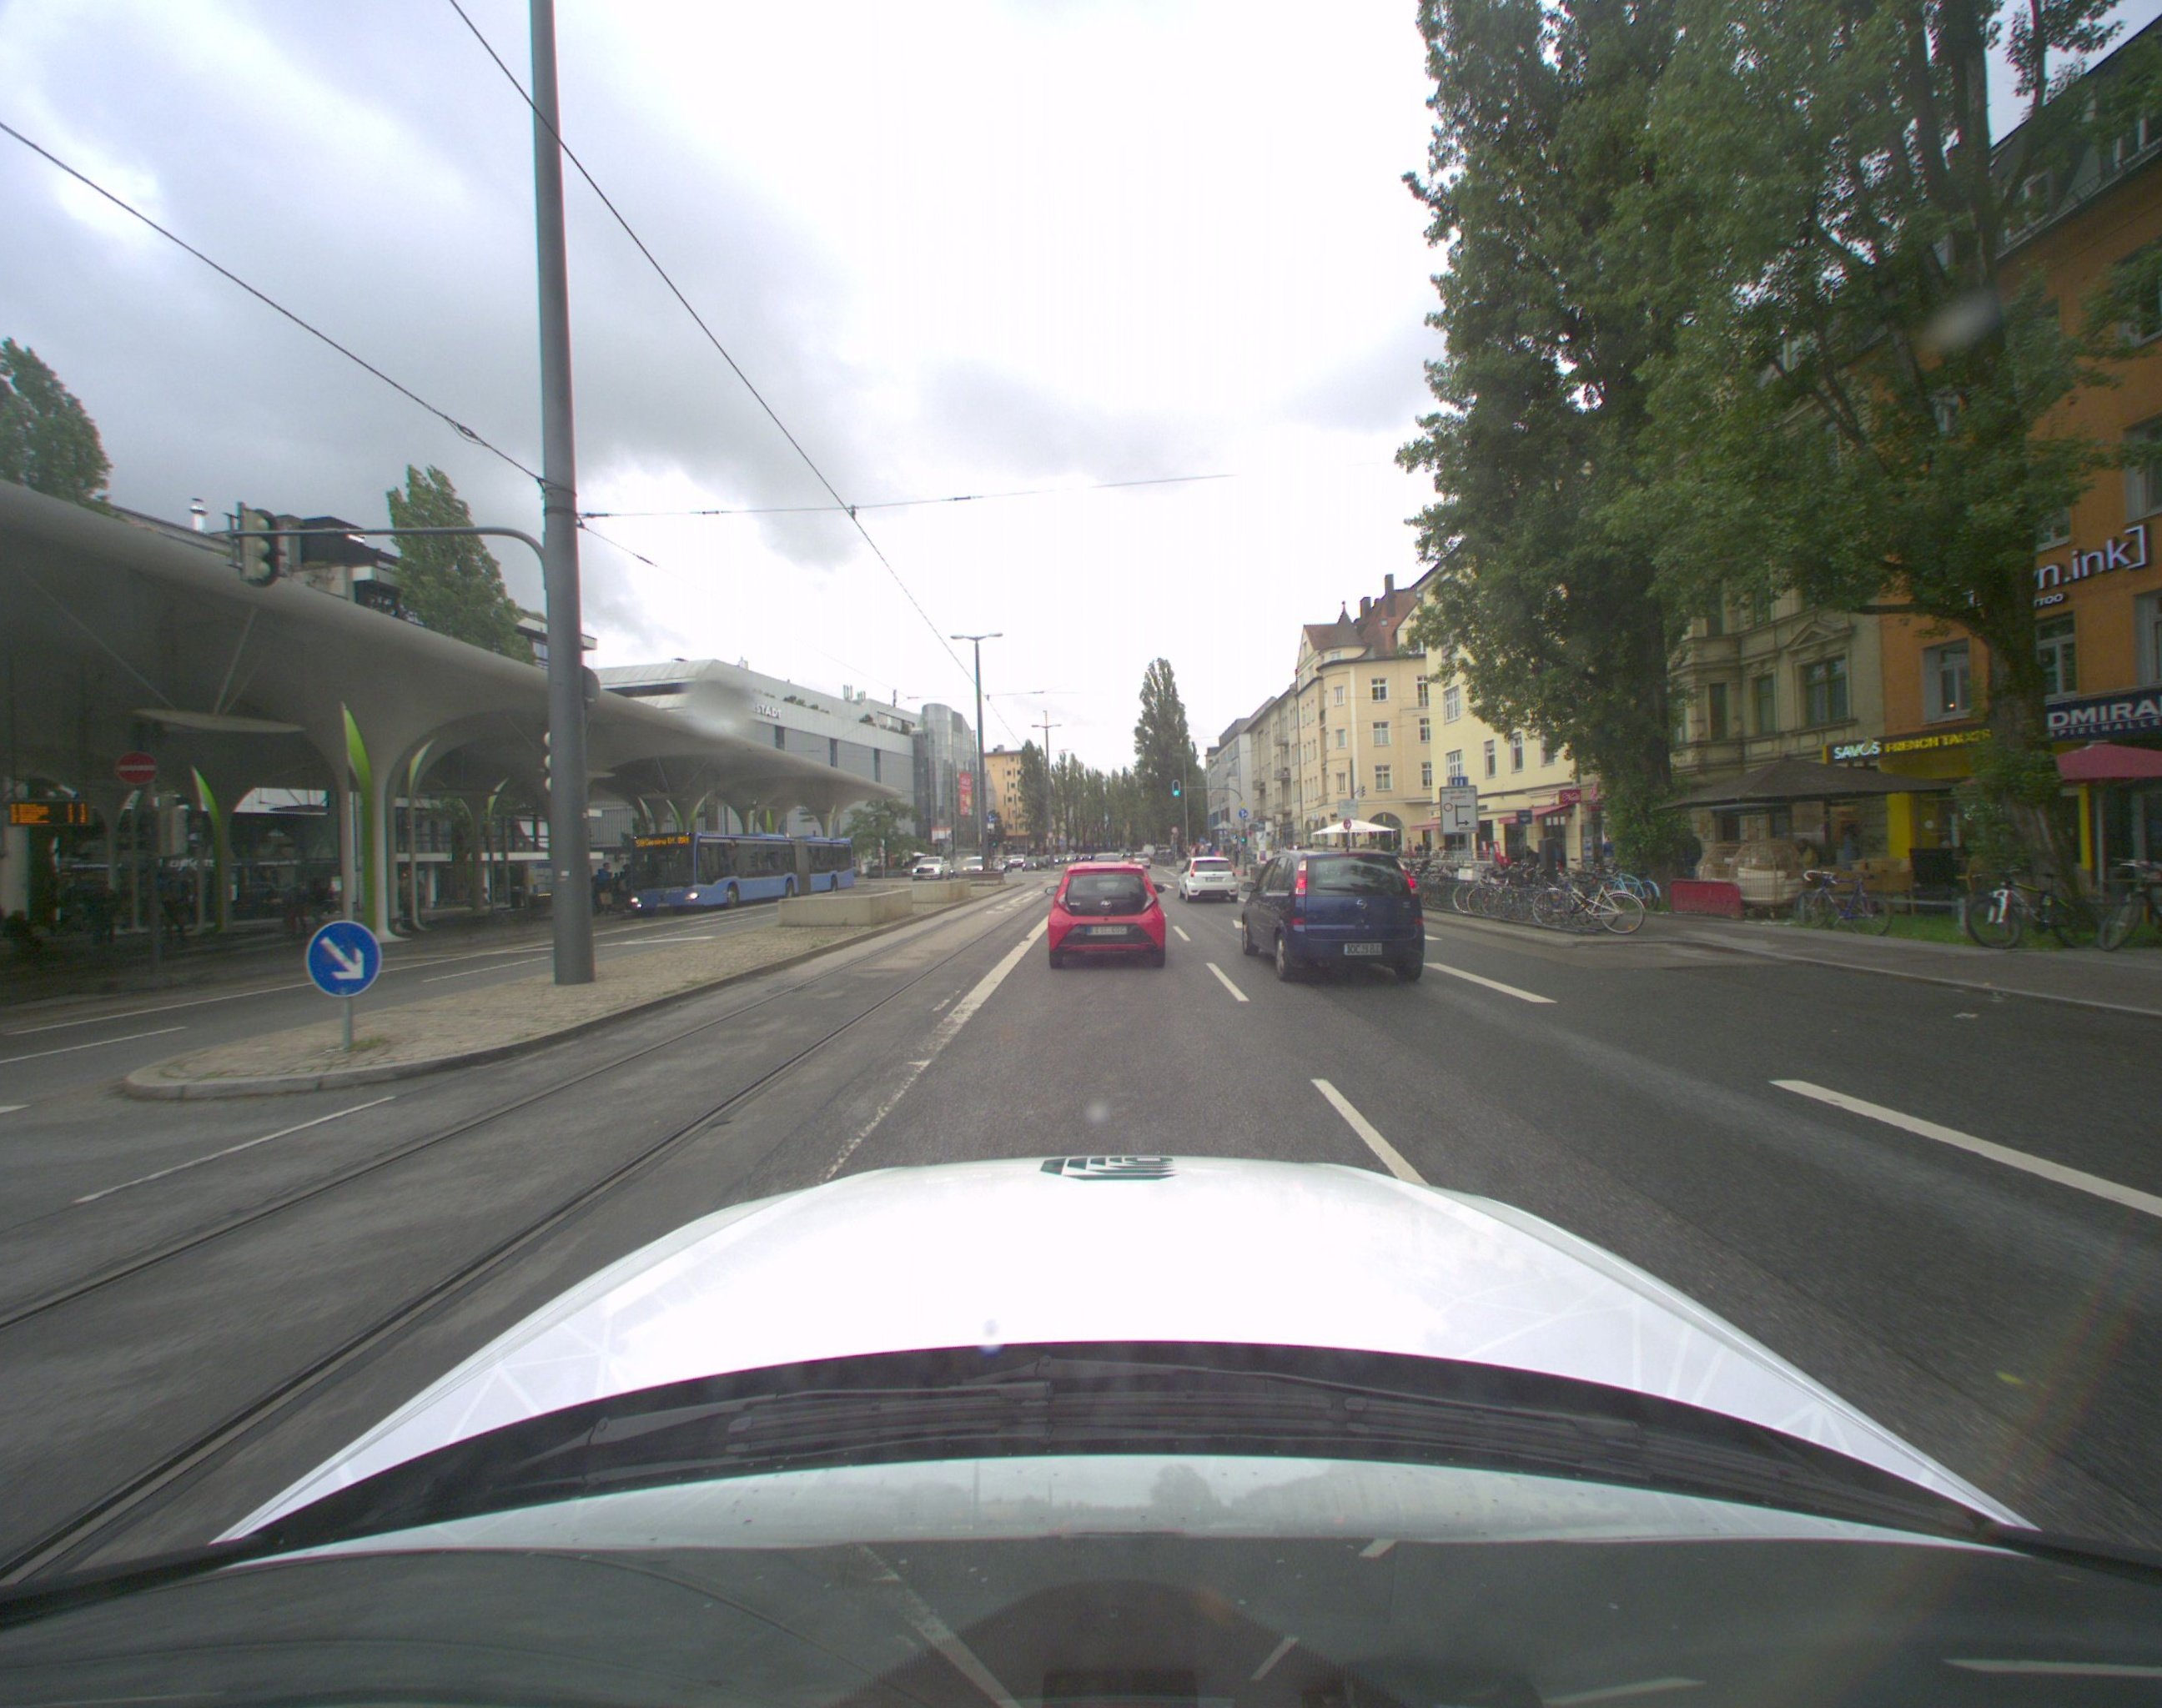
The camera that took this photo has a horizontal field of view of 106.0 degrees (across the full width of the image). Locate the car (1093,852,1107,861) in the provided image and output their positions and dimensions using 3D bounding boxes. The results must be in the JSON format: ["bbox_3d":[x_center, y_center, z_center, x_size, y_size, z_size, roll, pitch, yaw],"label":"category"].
[{"bbox_3d":[4.123,0.542,175.933,1.979,1.691,4.940,-1,0,14],"label":"car"}]

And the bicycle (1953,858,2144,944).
[{"bbox_3d":[12.882,0.615,10.871,1.879,1.054,0.459,-2,0,3],"label":"bicycle"}]

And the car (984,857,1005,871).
[{"bbox_3d":[-9.004,1.013,84.788,1.672,1.395,4.232,-2,0,0],"label":"car"}]

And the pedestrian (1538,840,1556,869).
[{"bbox_3d":[21.262,0.024,37.172,0.493,1.289,0.552,-2,0,2],"label":"pedestrian"}]

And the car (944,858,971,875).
[{"bbox_3d":[-11.444,1.146,75.795,1.667,1.378,4.614,-3,0,1],"label":"car"}]

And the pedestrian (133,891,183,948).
[{"bbox_3d":[-27.603,1.942,24.361,0.643,1.618,0.701,-2,0,6],"label":"pedestrian"}]

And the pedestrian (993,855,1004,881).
[{"bbox_3d":[-5.220,0.887,51.518,0.489,1.618,0.552,-2,0,-33],"label":"pedestrian"}]

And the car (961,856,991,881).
[{"bbox_3d":[-8.338,1.118,64.937,1.780,1.855,4.217,-3,0,0],"label":"car"}]

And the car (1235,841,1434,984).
[{"bbox_3d":[3.222,0.667,11.057,1.696,1.589,3.558,-1,0,2],"label":"car"}]

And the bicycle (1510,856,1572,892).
[{"bbox_3d":[14.065,0.607,24.899,1.719,1.045,0.387,-2,1,-5],"label":"bicycle"}]

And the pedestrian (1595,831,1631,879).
[{"bbox_3d":[18.724,0.026,28.690,0.707,1.632,0.787,-2,0,2],"label":"pedestrian"}]

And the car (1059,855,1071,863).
[{"bbox_3d":[-2.823,0.909,145.082,1.758,1.421,4.643,-2,0,3],"label":"car"}]

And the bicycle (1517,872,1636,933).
[{"bbox_3d":[8.980,0.847,14.830,0.377,0.995,1.821,-2,1,-37],"label":"bicycle"}]

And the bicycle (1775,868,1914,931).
[{"bbox_3d":[12.160,0.689,13.056,0.455,0.892,1.894,-2,0,1],"label":"bicycle"}]

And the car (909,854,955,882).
[{"bbox_3d":[-10.943,0.988,60.426,2.168,1.887,6.156,-2,0,0],"label":"car"}]

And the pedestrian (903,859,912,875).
[{"bbox_3d":[-19.537,1.508,91.747,0.752,1.773,0.767,-2,0,-21],"label":"pedestrian"}]

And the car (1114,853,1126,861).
[{"bbox_3d":[9.466,0.711,199.285,1.978,1.728,3.934,-2,0,16],"label":"car"}]

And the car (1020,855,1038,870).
[{"bbox_3d":[-5.409,0.897,84.440,1.545,1.445,3.527,-2,0,-10],"label":"car"}]

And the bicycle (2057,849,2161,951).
[{"bbox_3d":[13.345,0.539,10.010,1.879,1.174,0.582,-2,0,3],"label":"bicycle"}]

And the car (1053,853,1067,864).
[{"bbox_3d":[-3.538,0.716,137.297,1.734,1.670,4.741,-3,0,6],"label":"car"}]

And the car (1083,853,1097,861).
[{"bbox_3d":[1.831,0.676,166.371,1.980,1.534,4.603,-2,0,12],"label":"car"}]

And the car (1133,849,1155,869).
[{"bbox_3d":[6.169,0.501,80.093,1.986,1.838,4.002,-2,0,2],"label":"car"}]

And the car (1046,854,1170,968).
[{"bbox_3d":[0.439,0.757,12.254,1.598,1.461,3.132,-1,0,3],"label":"car"}]

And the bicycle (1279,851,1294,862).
[{"bbox_3d":[19.025,0.227,75.498,0.495,1.059,1.858,-2,0,-13],"label":"bicycle"}]

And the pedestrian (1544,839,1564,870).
[{"bbox_3d":[21.004,0.026,36.171,0.493,1.332,0.552,-2,0,2],"label":"pedestrian"}]

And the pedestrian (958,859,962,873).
[{"bbox_3d":[-14.805,1.473,99.546,0.355,1.759,0.444,-2,0,-17],"label":"pedestrian"}]

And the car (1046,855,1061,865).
[{"bbox_3d":[-4.293,0.962,128.304,1.985,1.412,4.172,-1,0,4],"label":"car"}]

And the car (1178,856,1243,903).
[{"bbox_3d":[4.223,0.788,27.049,1.693,1.426,3.498,-1,0,2],"label":"car"}]

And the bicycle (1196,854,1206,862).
[{"bbox_3d":[14.230,0.450,96.521,1.175,0.963,0.370,-3,0,6],"label":"bicycle"}]

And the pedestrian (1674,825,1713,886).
[{"bbox_3d":[18.014,0.052,23.959,0.598,1.739,0.666,-2,0,2],"label":"pedestrian"}]

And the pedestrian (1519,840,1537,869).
[{"bbox_3d":[20.416,0.025,37.177,0.493,1.289,0.552,-2,0,2],"label":"pedestrian"}]

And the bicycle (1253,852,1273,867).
[{"bbox_3d":[15.850,0.496,70.858,1.561,1.160,0.525,-3,2,5],"label":"bicycle"}]

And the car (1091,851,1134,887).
[{"bbox_3d":[1.549,0.709,40.813,1.986,1.618,4.002,-3,0,2],"label":"car"}]

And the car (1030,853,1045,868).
[{"bbox_3d":[-4.758,0.747,89.224,1.501,1.534,2.831,-2,0,-6],"label":"car"}]

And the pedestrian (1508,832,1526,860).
[{"bbox_3d":[22.368,-0.421,41.788,0.543,1.397,0.548,-2,0,-25],"label":"pedestrian"}]

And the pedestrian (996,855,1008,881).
[{"bbox_3d":[-4.941,0.885,51.232,0.466,1.618,0.515,-2,0,-45],"label":"pedestrian"}]

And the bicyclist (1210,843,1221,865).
[{"bbox_3d":[11.906,-0.016,72.158,0.759,1.869,1.133,-2,0,3],"label":"bicyclist"}]

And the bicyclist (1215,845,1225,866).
[{"bbox_3d":[11.333,0.129,66.586,0.611,1.657,1.252,-2,0,3],"label":"bicyclist"}]

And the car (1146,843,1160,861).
[{"bbox_3d":[11.571,-0.307,131.002,2.098,2.718,4.808,-2,0,3],"label":"car"}]

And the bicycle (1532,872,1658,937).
[{"bbox_3d":[8.909,0.848,14.190,0.377,0.995,1.821,-2,1,-37],"label":"bicycle"}]

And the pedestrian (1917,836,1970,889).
[{"bbox_3d":[20.609,0.206,19.468,0.620,1.218,0.583,-2,0,1],"label":"pedestrian"}]
